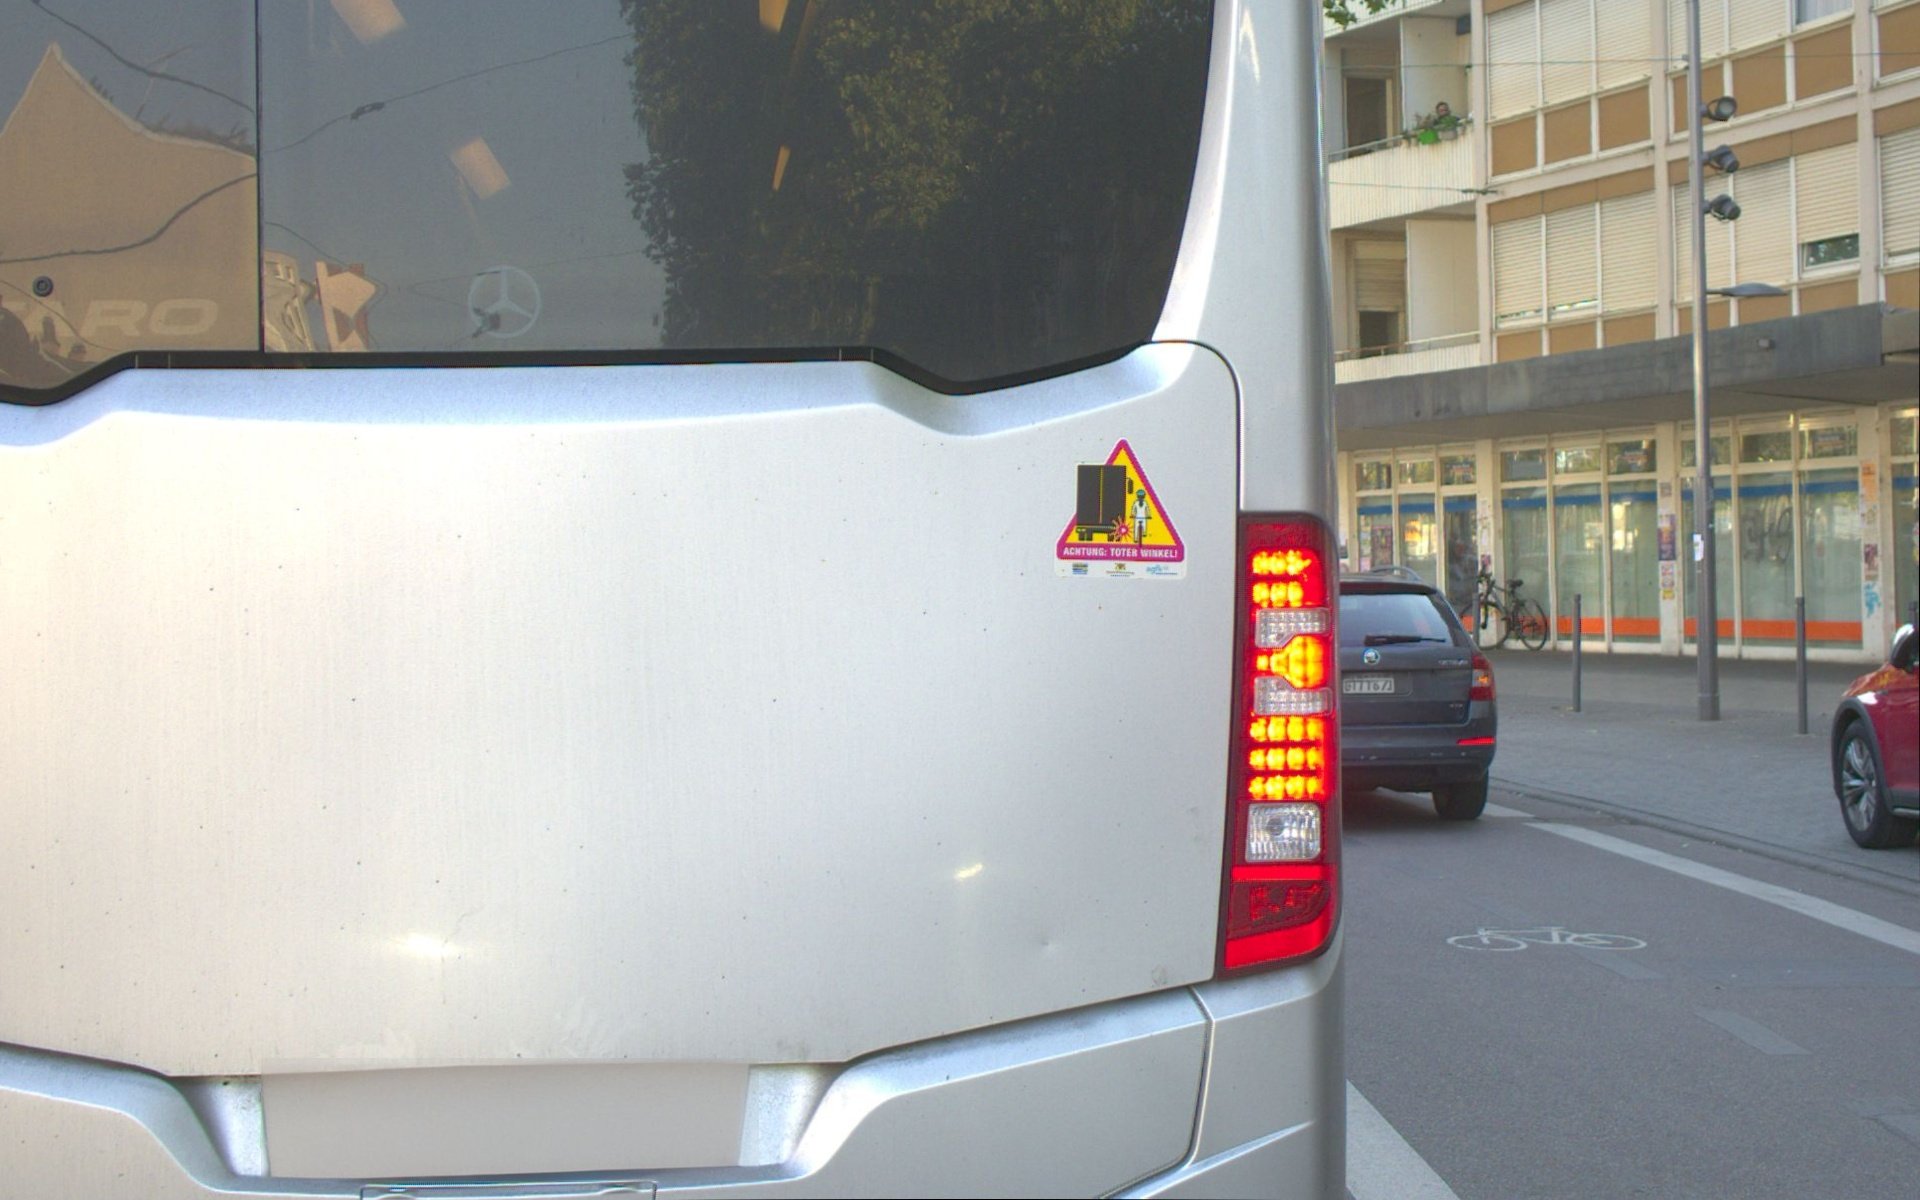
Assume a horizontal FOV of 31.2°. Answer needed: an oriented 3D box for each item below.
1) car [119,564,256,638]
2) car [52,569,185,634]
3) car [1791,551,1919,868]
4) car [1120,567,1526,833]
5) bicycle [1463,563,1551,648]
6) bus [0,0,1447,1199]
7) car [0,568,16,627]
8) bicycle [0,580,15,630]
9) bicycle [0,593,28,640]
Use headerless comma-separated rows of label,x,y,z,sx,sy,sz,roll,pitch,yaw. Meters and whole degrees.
car,-17.469,0.005,77.651,1.663,1.511,3.412,-5,4,-37
car,-19.830,0.025,80.968,1.663,1.390,3.411,-6,4,-39
car,5.500,0.502,15.974,1.778,1.491,4.568,-3,1,-5
car,2.104,0.531,21.038,1.803,1.469,4.072,0,1,-4
bicycle,7.219,0.066,45.442,0.437,1.089,1.462,-4,2,-20
bus,-0.871,-0.128,9.898,2.657,3.088,10.217,-1,0,-2
car,-25.703,-0.033,88.026,1.663,1.463,3.411,-6,4,-38
bicycle,-23.729,0.119,84.928,0.507,1.207,2.093,-1,1,-21
bicycle,-19.763,0.348,69.271,1.841,0.939,0.463,-1,1,8
